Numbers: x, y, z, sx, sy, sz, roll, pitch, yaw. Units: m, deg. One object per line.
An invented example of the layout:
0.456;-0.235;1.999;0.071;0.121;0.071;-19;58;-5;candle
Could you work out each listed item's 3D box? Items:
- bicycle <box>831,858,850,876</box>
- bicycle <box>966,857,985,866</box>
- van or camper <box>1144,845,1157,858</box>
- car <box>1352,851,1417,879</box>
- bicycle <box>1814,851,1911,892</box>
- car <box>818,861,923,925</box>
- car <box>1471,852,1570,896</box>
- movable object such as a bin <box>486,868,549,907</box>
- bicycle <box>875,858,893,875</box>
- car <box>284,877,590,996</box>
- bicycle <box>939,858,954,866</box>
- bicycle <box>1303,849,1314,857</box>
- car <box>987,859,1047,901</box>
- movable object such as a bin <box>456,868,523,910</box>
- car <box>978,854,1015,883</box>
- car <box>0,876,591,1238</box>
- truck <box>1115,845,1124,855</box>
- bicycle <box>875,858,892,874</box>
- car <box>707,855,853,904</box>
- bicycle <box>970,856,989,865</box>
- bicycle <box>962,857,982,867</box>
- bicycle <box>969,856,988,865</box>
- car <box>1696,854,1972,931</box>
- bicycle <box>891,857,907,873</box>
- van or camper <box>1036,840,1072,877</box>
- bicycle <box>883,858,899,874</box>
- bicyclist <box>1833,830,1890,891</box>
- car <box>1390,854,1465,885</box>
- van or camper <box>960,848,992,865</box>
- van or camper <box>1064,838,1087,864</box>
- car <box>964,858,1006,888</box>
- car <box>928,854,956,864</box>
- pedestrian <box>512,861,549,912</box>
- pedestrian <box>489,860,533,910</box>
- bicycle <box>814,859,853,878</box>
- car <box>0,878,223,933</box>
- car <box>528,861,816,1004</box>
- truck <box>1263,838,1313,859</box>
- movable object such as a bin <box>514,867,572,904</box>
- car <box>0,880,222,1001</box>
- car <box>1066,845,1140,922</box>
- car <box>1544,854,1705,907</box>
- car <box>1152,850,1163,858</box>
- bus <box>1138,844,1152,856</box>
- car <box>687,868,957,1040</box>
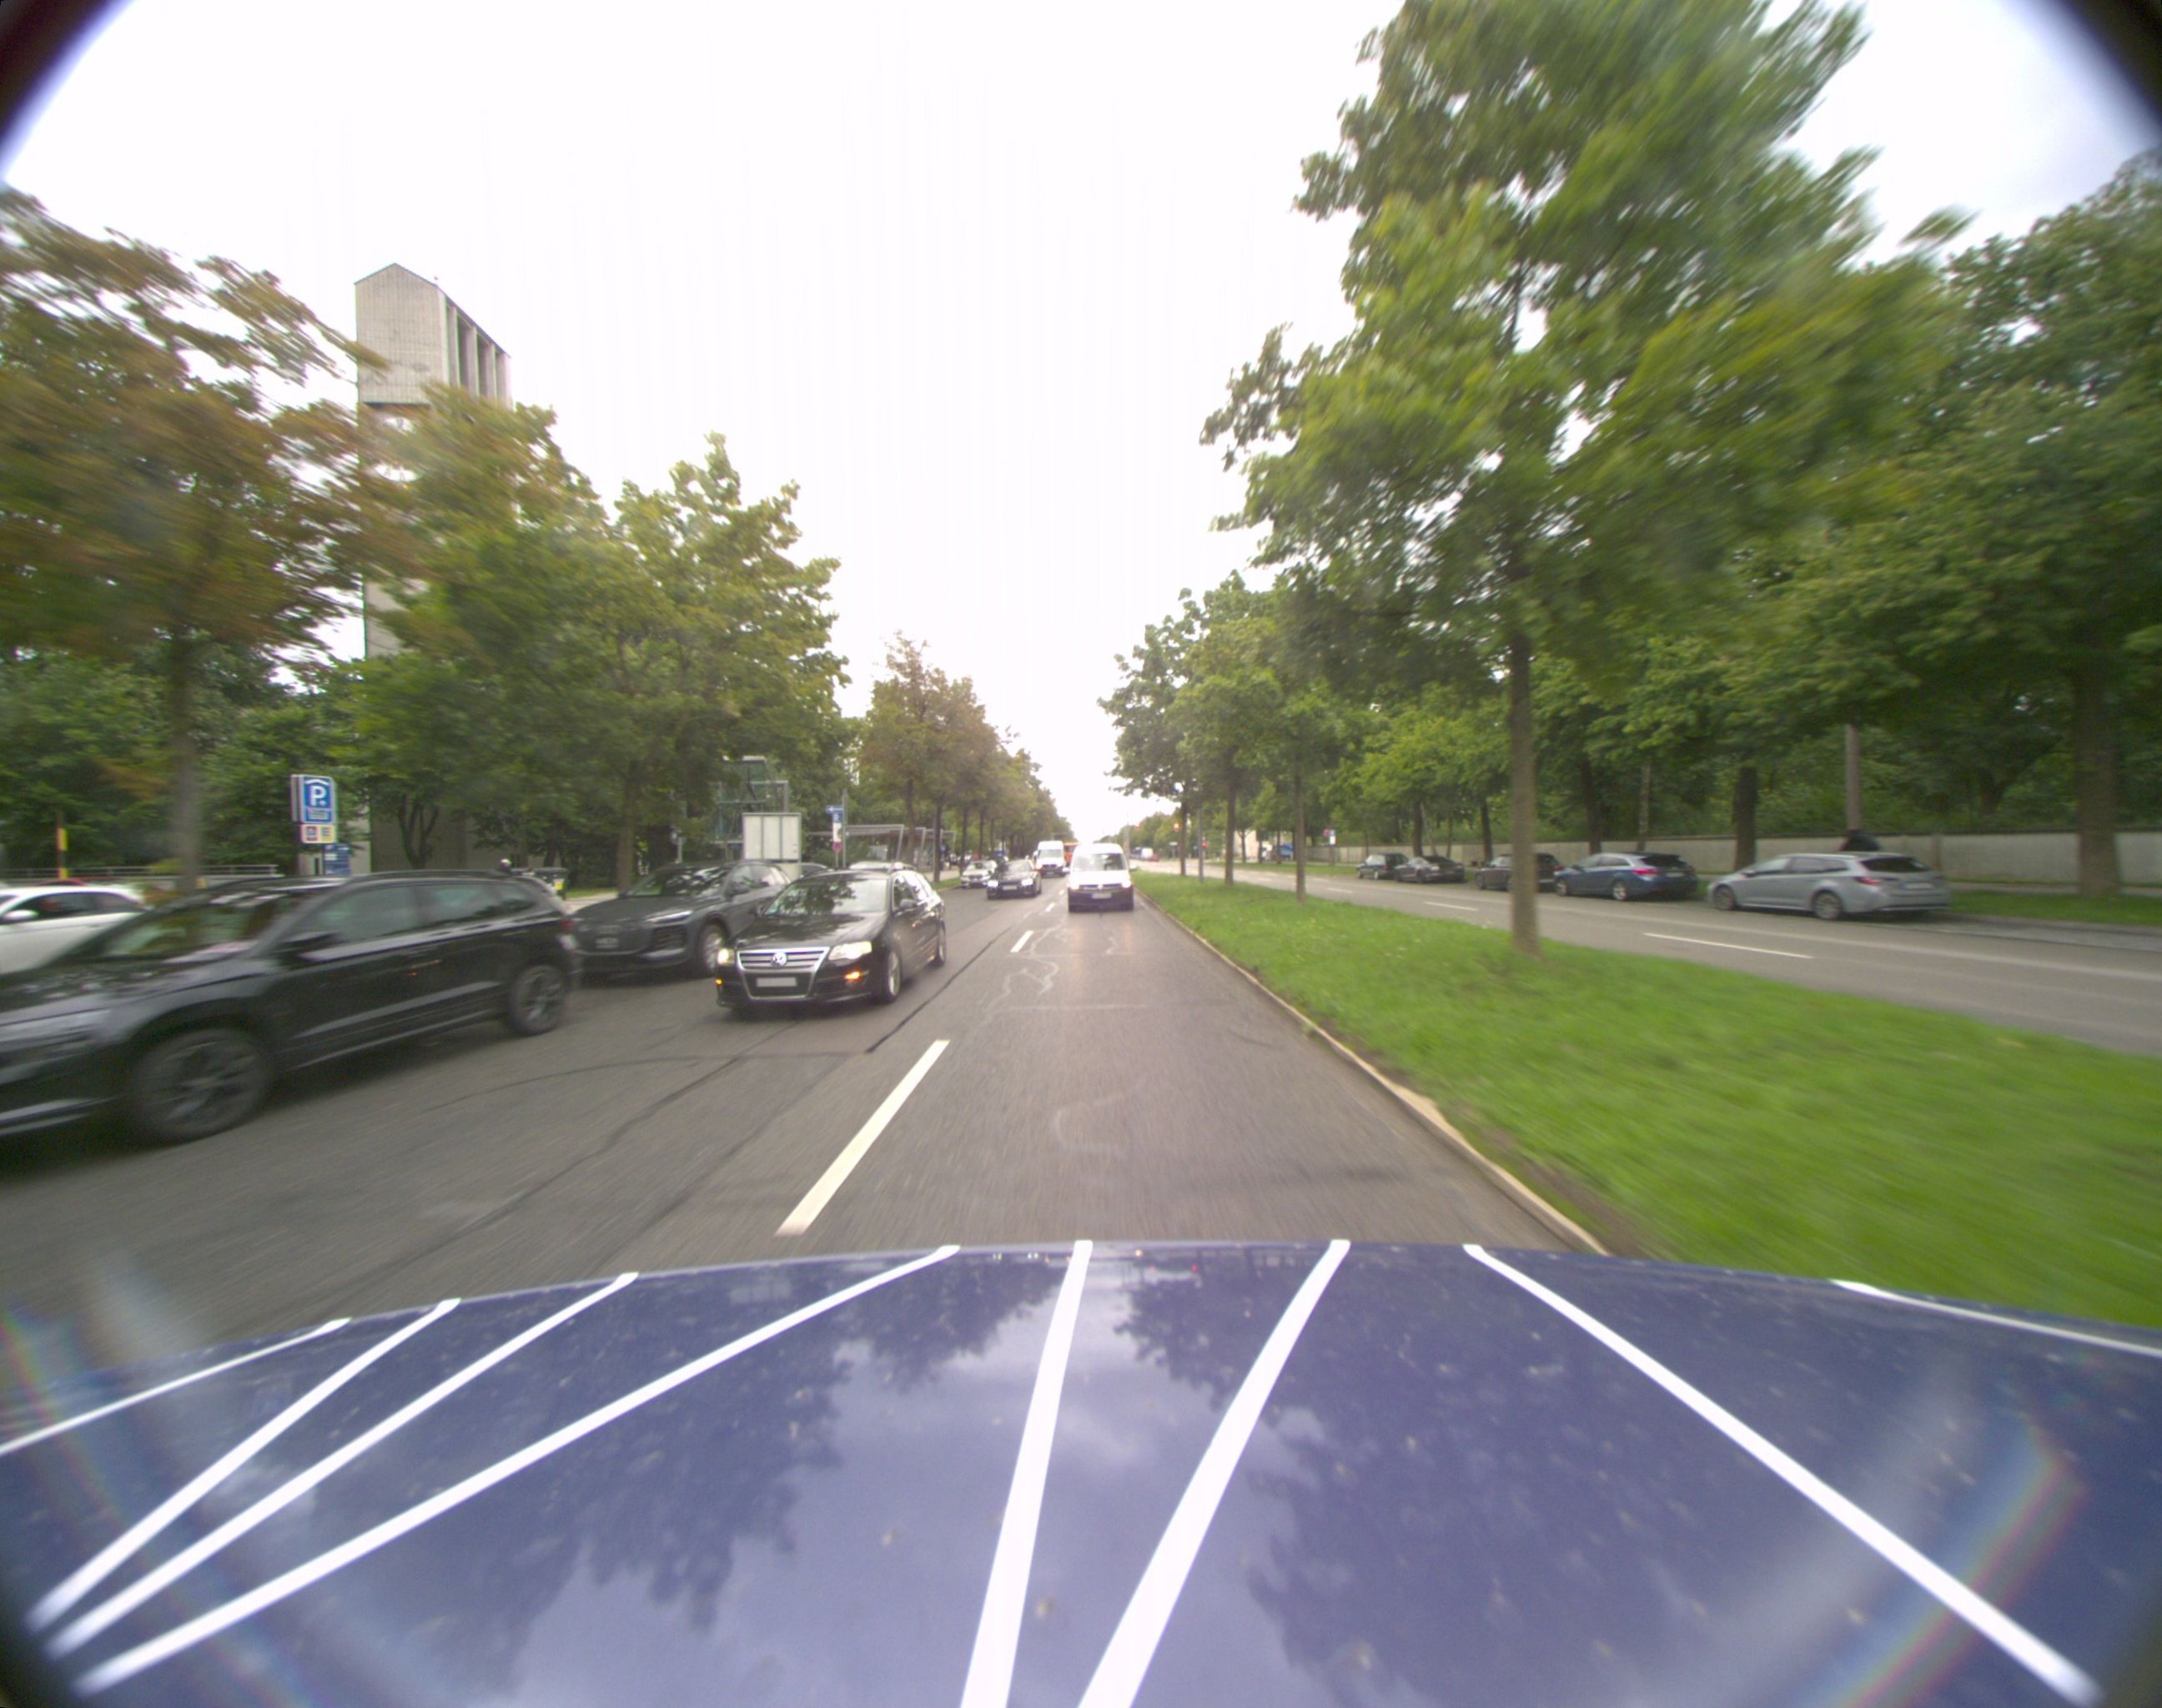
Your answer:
-18.416;0.994;58.188;0.606;1.273;2.550;-1;0;1;bicycle
-12.988;0.922;93.461;2.346;1.151;0.529;1;0;-7;bicycle
14.745;-0.574;161.168;2.183;2.631;6.951;1;0;2;van or camper
17.370;0.591;43.692;1.803;1.481;4.915;-2;0;1;car
22.814;0.483;22.245;0.715;1.154;2.116;-1;0;1;bicycle
-5.955;1.037;22.055;1.766;1.580;4.452;-1;0;0;car
16.762;0.706;29.220;1.574;1.494;4.304;-2;0;5;car
-21.318;1.241;28.774;1.339;1.401;1.314;-1;1;-1;movable object such as a bin
-15.028;0.949;58.132;0.646;1.273;2.550;-1;0;1;bicycle
-10.489;1.232;12.865;1.768;1.479;3.999;-3;0;-1;car
-19.284;1.110;108.894;0.716;1.147;2.133;-1;1;41;bicycle
33.888;-0.151;113.351;0.837;1.179;2.496;-1;0;0;bicycle
-2.442;0.948;29.975;1.819;1.421;4.671;-2;0;1;car
-21.324;1.246;27.424;1.339;1.401;1.314;-1;1;-1;movable object such as a bin
-5.252;0.855;47.736;1.791;1.665;4.595;-1;0;0;car
-6.069;1.077;5.678;1.726;1.642;4.390;-1;0;4;car
13.014;-1.215;259.694;2.787;3.336;7.266;-1;0;1;truck
-16.550;0.984;63.623;0.646;1.273;2.550;-1;0;1;bicycle
-11.507;0.915;29.329;1.968;1.615;4.856;-1;1;39;car
-12.934;0.857;97.057;2.344;1.151;0.529;1;0;1;bicycle
-13.244;0.935;92.552;2.344;1.151;0.529;1;0;1;bicycle
-12.978;0.832;95.956;2.344;1.151;0.529;1;0;1;bicycle
16.744;0.762;17.340;1.640;1.431;4.809;-2;0;2;car
-15.216;0.935;63.451;0.646;1.273;2.550;-1;0;1;bicycle
-1.911;0.315;56.091;2.183;2.546;7.074;-1;0;1;van or camper
-15.885;0.960;63.563;0.646;1.273;2.550;-1;0;1;bicycle
22.809;0.184;22.225;0.707;1.737;0.922;-1;1;1;bicyclist
17.146;0.710;37.863;1.663;1.388;4.707;-2;0;1;car
-15.236;0.360;110.626;2.144;2.283;6.207;-1;0;19;van or camper
-0.663;-0.389;97.768;2.780;3.219;7.074;-1;0;1;van or camper
-5.207;0.994;41.521;1.657;1.426;4.482;-1;0;0;car
-23.024;0.846;126.060;4.312;1.489;1.887;-1;1;-2;car
-18.907;1.096;26.121;0.540;1.711;0.987;1;1;1;pedestrian
-20.045;1.073;26.721;0.830;1.711;0.940;1;1;1;pedestrian
-17.726;1.042;54.376;2.548;1.273;0.647;-1;1;1;bicycle
-24.065;1.260;18.922;3.450;1.145;1.561;-2;0;-3;car
-5.971;1.017;11.935;1.766;1.691;4.820;-1;0;2;car
35.312;-0.982;129.726;7.816;3.468;2.772;-1;1;2;truck
-21.305;1.236;30.122;1.339;1.401;1.314;-1;1;-1;movable object such as a bin
-16.638;1.317;11.790;1.998;1.641;4.000;-1;0;1;car
0.508;0.707;20.644;1.752;1.809;4.671;-1;0;0;car
16.891;0.749;23.964;1.590;1.450;4.798;-2;0;0;car
14.793;0.043;147.315;1.747;1.443;4.657;1;0;1;car
17.295;-1.084;205.326;2.752;3.324;12.047;0;0;0;bus
-2.817;0.986;9.495;1.752;1.466;4.671;-2;0;0;car
